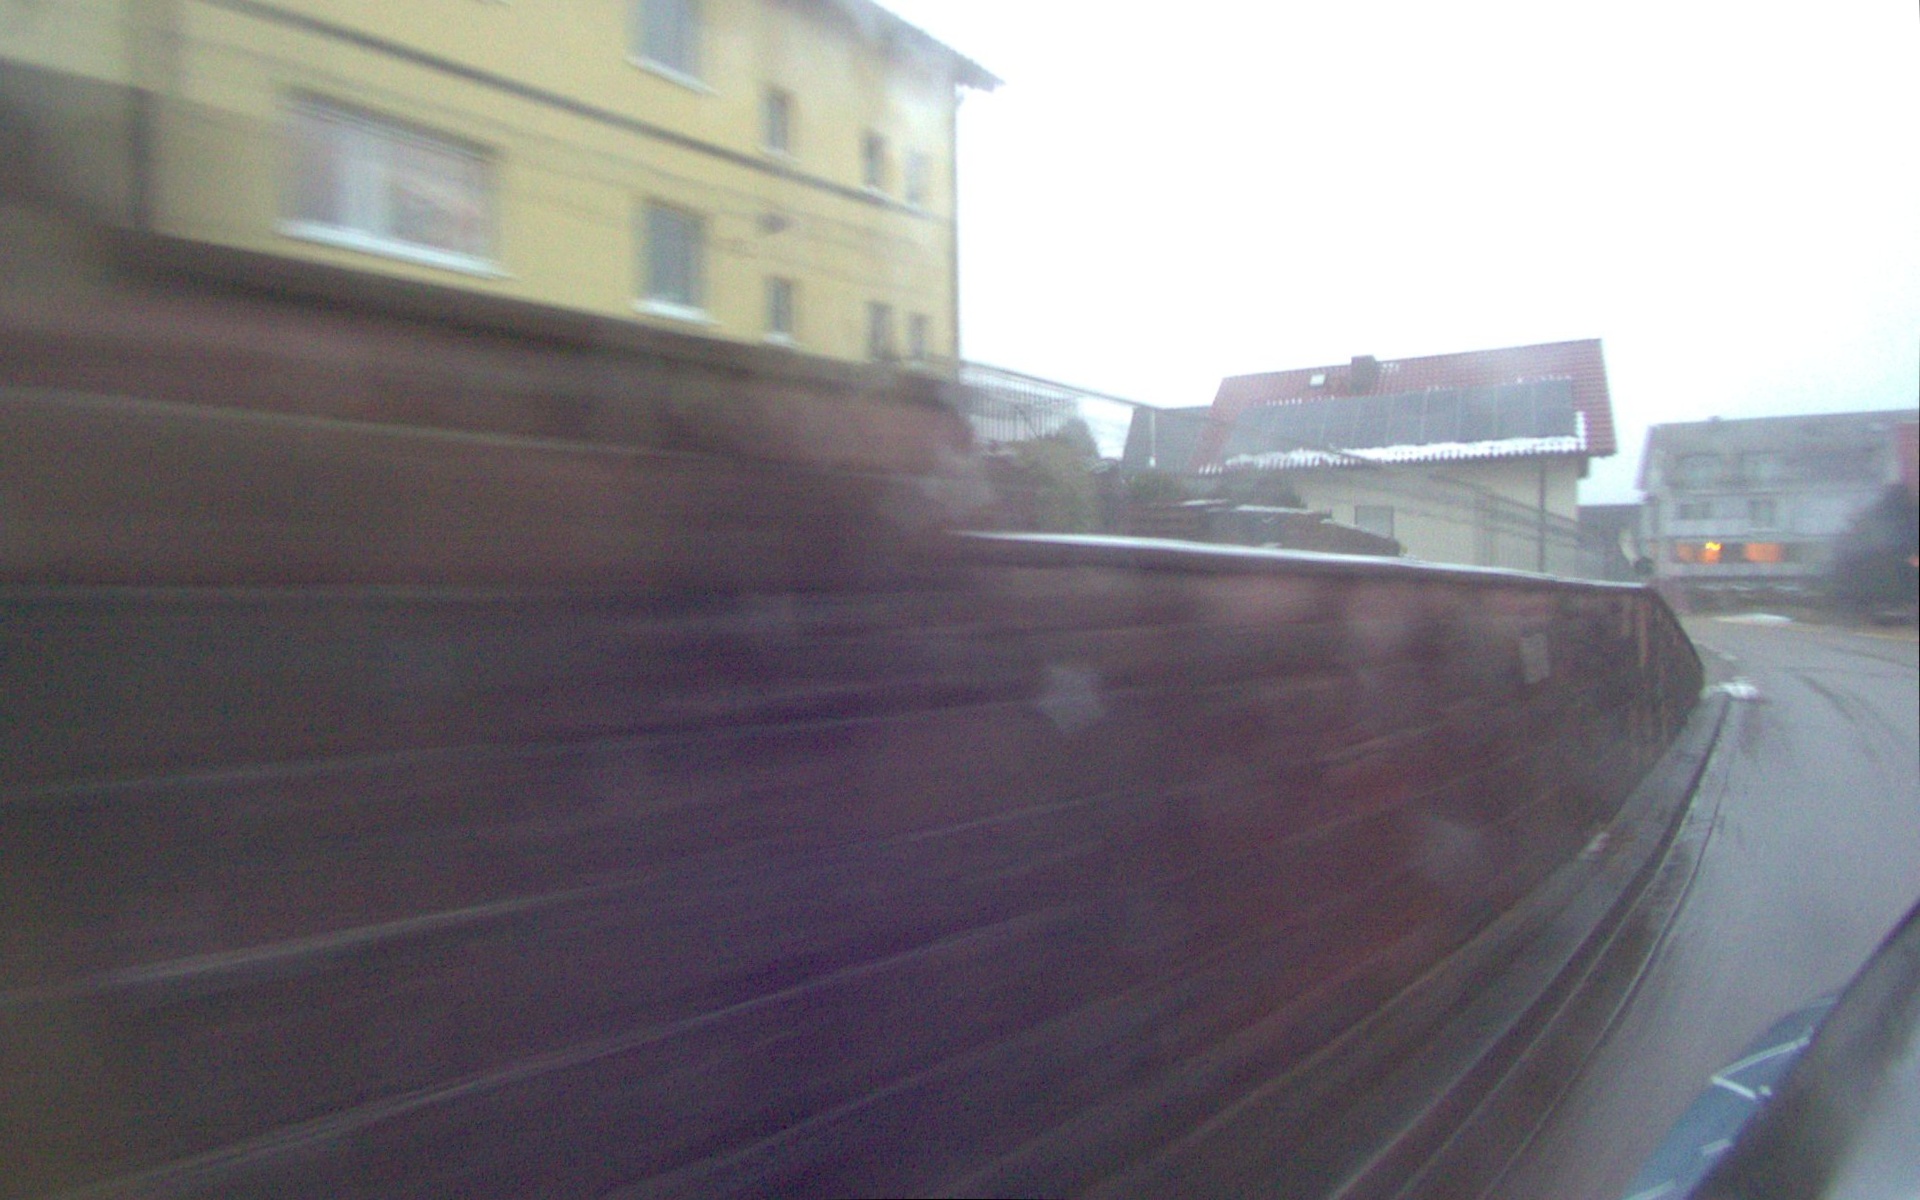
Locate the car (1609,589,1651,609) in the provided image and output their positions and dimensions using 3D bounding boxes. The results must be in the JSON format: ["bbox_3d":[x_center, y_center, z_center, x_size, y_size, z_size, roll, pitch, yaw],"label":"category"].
[{"bbox_3d":[49.276,-0.082,74.499,1.652,1.428,3.888,0,0,19],"label":"car"}]

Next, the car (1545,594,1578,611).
[{"bbox_3d":[55.787,0.220,93.886,1.716,1.462,4.413,0,0,18],"label":"car"}]

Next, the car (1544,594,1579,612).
[{"bbox_3d":[52.909,0.295,89.081,1.756,1.514,4.352,1,0,19],"label":"car"}]

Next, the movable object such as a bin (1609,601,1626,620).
[{"bbox_3d":[35.320,0.559,54.374,0.610,0.958,0.590,4,3,26],"label":"movable object such as a bin"}]

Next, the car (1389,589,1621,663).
[{"bbox_3d":[12.474,0.524,23.264,4.491,1.462,1.975,2,1,36],"label":"car"}]
